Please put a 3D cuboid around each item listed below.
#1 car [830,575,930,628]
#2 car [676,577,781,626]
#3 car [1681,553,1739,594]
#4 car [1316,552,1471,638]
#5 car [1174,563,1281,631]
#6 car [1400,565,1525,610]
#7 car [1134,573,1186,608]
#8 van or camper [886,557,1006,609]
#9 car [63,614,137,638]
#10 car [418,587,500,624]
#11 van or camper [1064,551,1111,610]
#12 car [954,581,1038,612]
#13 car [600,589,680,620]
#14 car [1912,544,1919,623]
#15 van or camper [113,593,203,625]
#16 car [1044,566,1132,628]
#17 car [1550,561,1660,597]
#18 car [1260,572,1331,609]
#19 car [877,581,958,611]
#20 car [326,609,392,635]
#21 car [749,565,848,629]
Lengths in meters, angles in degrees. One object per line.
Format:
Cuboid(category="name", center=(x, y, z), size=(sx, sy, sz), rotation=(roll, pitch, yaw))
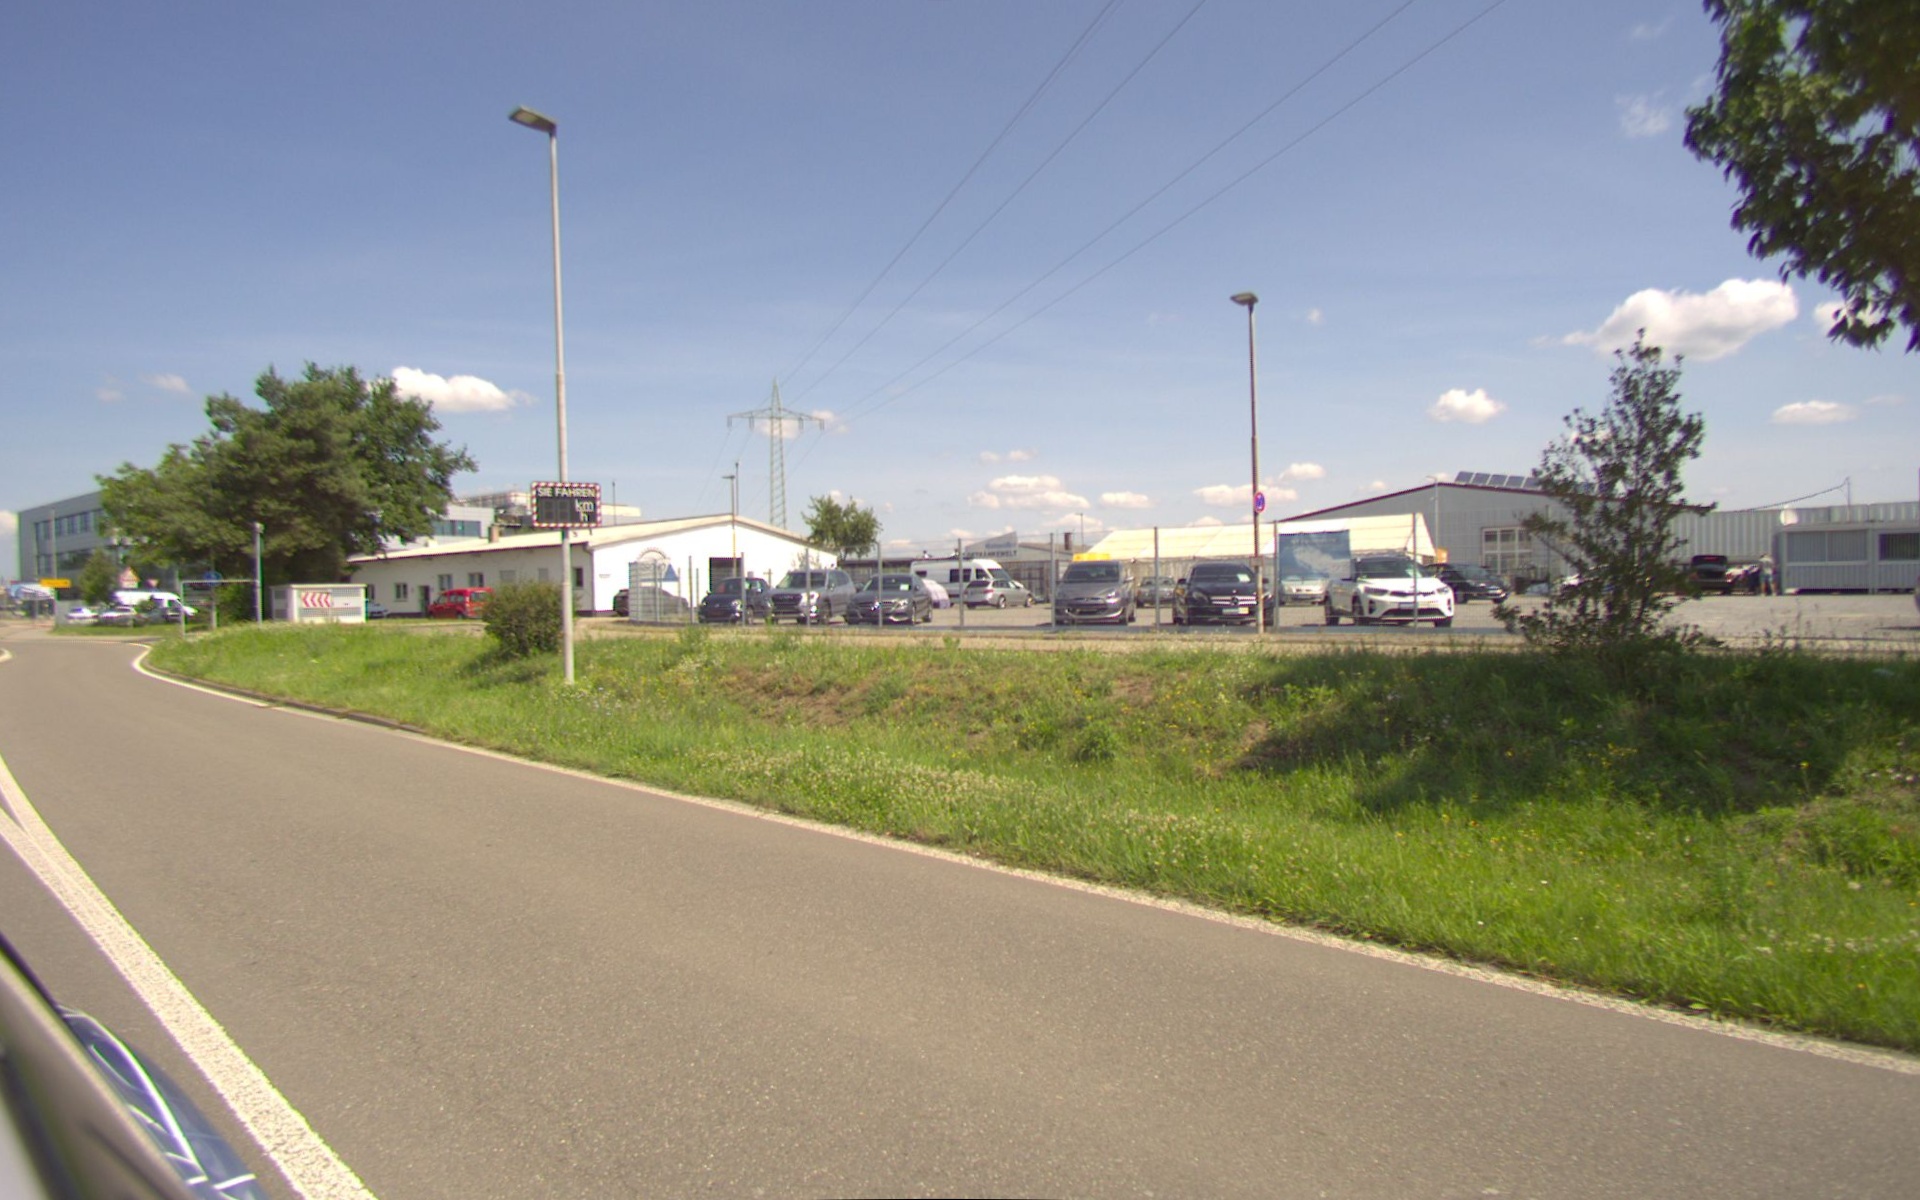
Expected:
Cuboid(category="car", center=(-2.130, 0.011, 28.062), size=(1.920, 1.320, 3.990), rotation=(-2, 1, 8))
Cuboid(category="car", center=(-7.169, -0.002, 31.697), size=(1.783, 1.412, 3.555), rotation=(-1, 1, 13))
Cuboid(category="car", center=(34.048, -1.220, 45.915), size=(1.997, 1.707, 3.949), rotation=(-1, 1, 38))
Cuboid(category="car", center=(8.818, -0.133, 20.949), size=(1.920, 1.552, 3.990), rotation=(-2, 1, 8))
Cuboid(category="car", center=(5.841, -0.100, 22.516), size=(1.921, 1.320, 3.988), rotation=(-2, 1, 10))
Cuboid(category="car", center=(19.111, -0.462, 38.693), size=(1.909, 1.585, 4.013), rotation=(-2, 1, -20))
Cuboid(category="car", center=(8.416, -0.428, 42.899), size=(1.920, 1.320, 3.990), rotation=(-2, 1, 8))
Cuboid(category="van or camper", center=(-0.845, -0.892, 55.470), size=(6.760, 2.619, 1.975), rotation=(-1, 1, 38))
Cuboid(category="car", center=(-62.424, 1.866, 73.495), size=(2.000, 1.530, 3.943), rotation=(0, 1, 44))
Cuboid(category="car", center=(-25.262, 0.281, 50.985), size=(4.220, 1.757, 1.976), rotation=(-1, 1, 36))
Cuboid(category="van or camper", center=(5.687, -0.870, 44.961), size=(1.872, 2.393, 5.327), rotation=(-2, 1, 8))
Cuboid(category="car", center=(1.722, -0.175, 47.703), size=(1.998, 1.320, 3.948), rotation=(-1, 1, 39))
Cuboid(category="car", center=(-17.858, 0.238, 56.573), size=(1.930, 1.536, 3.957), rotation=(-1, 1, 32))
Cuboid(category="car", center=(16.666, -0.262, 14.851), size=(1.920, 1.320, 3.990), rotation=(-2, 1, 8))
Cuboid(category="van or camper", center=(-67.309, 0.721, 85.043), size=(5.492, 2.516, 2.086), rotation=(-2, 1, -26))
Cuboid(category="car", center=(3.149, -0.109, 24.697), size=(1.920, 1.320, 3.990), rotation=(-2, 1, 8))
Cuboid(category="car", center=(28.511, -0.914, 44.849), size=(3.987, 1.453, 1.862), rotation=(-1, 1, 32))
Cuboid(category="car", center=(13.265, -0.400, 40.223), size=(1.920, 1.320, 3.990), rotation=(-2, 1, 8))
Cuboid(category="car", center=(-2.248, -0.185, 53.212), size=(3.994, 1.444, 1.902), rotation=(-1, 1, 38))
Cuboid(category="car", center=(-35.323, 1.294, 59.403), size=(4.513, 1.419, 1.973), rotation=(-3, -2, 40))
Cuboid(category="car", center=(-4.682, -0.124, 29.921), size=(1.703, 1.717, 4.099), rotation=(-2, 1, 8))
